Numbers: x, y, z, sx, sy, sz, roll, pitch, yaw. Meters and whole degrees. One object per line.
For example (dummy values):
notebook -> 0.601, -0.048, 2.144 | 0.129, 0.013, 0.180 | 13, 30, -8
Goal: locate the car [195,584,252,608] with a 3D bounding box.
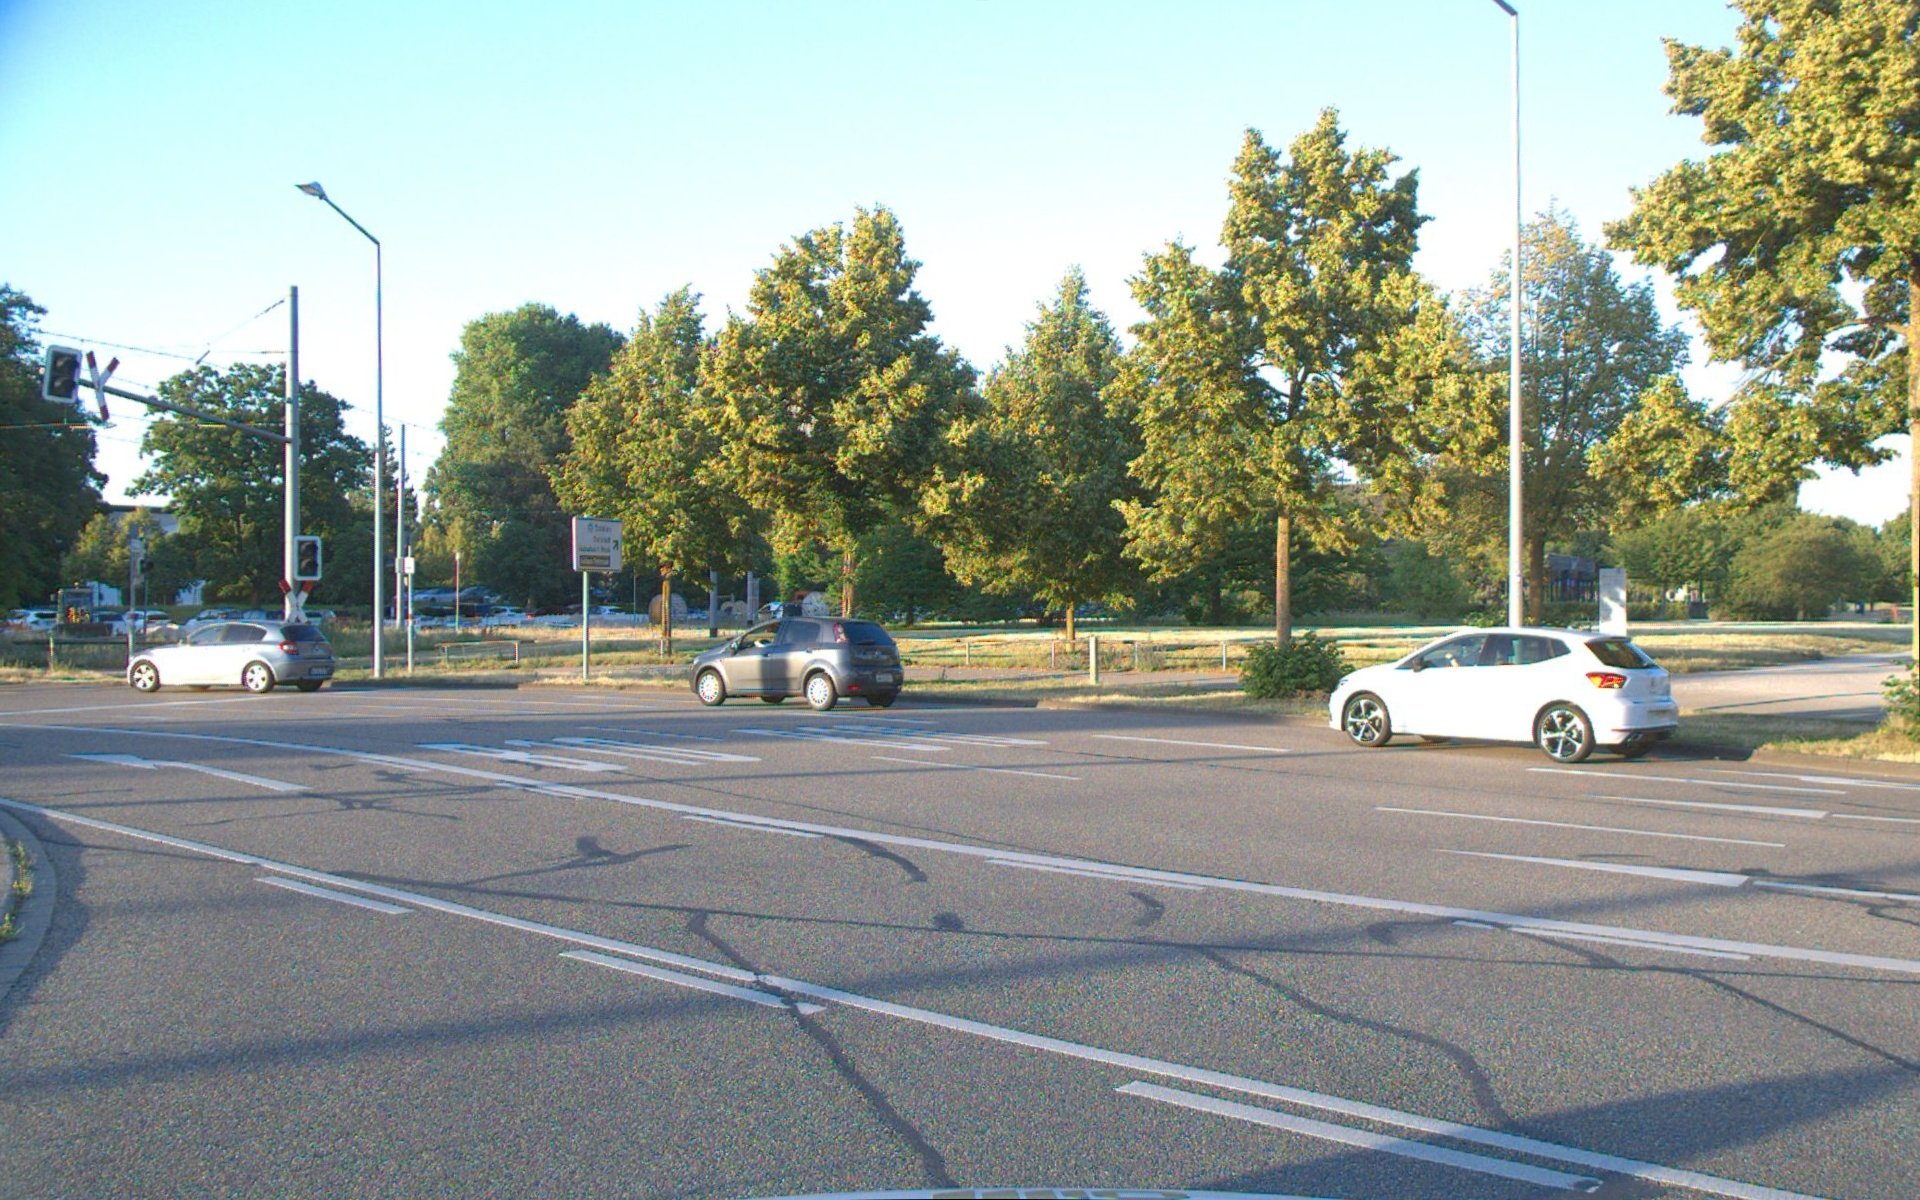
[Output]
car -> -63.351, -0.312, 142.370 | 1.958, 2.049, 4.105 | 0, 0, 33

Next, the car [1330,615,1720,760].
car -> 6.463, 0.924, 19.210 | 1.852, 1.479, 3.911 | 0, 0, -42

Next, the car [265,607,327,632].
car -> -45.795, 1.330, 114.119 | 3.933, 1.691, 1.889 | 0, 0, -23

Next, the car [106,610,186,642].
car -> -42.236, 1.323, 85.794 | 3.915, 1.632, 1.995 | 0, 0, 32

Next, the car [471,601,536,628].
car -> -34.571, 1.095, 125.269 | 4.499, 2.049, 1.996 | 0, 0, -9

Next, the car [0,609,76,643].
car -> -45.606, 1.246, 81.442 | 3.915, 1.632, 1.995 | 0, 0, 32

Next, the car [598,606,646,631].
car -> -26.341, 1.404, 128.885 | 1.979, 1.782, 4.538 | 0, 1, -37

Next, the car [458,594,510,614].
car -> -41.664, 0.309, 144.731 | 3.902, 1.736, 2.001 | 0, 0, 6

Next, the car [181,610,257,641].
car -> -40.511, 1.372, 90.383 | 3.915, 1.632, 1.995 | 0, 0, 32

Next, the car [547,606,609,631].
car -> -26.248, 1.246, 113.680 | 3.915, 1.632, 1.995 | 0, 0, 32

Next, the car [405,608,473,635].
car -> -32.290, 1.300, 102.554 | 3.915, 1.632, 1.995 | 0, 0, 32

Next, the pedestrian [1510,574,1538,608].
pedestrian -> 27.016, -0.437, 79.250 | 1.047, 1.646, 0.911 | 0, 0, 2

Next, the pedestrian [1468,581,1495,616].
pedestrian -> 25.019, -0.080, 79.394 | 1.047, 1.646, 0.911 | 0, 0, 2

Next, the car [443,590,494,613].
car -> -44.065, 0.123, 148.244 | 1.963, 2.049, 3.979 | 0, 0, 40

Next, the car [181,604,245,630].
car -> -50.539, 1.119, 111.878 | 3.939, 1.691, 1.983 | 0, 0, -27

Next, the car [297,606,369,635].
car -> -36.424, 1.201, 96.095 | 3.915, 1.632, 1.995 | 0, 0, 32

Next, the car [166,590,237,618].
car -> -56.625, 0.250, 123.499 | 1.956, 2.049, 4.590 | 0, 0, 29

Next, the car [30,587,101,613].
car -> -70.510, -0.012, 130.474 | 1.956, 2.049, 4.590 | 0, 0, 29

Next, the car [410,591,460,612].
car -> -47.926, 0.127, 151.071 | 1.959, 1.847, 3.987 | 0, 0, 34

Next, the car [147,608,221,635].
car -> -50.209, 1.380, 107.091 | 1.863, 1.691, 3.987 | 0, 0, 34

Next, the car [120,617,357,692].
car -> -14.350, 1.052, 32.964 | 4.061, 1.414, 1.869 | 0, 0, 15

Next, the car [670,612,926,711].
car -> -2.722, 0.956, 27.375 | 4.083, 1.479, 1.859 | 0, 1, 39

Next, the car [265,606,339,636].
car -> -37.369, 1.176, 93.877 | 3.915, 1.632, 1.995 | 0, 0, 32

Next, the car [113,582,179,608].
car -> -67.094, -0.400, 136.348 | 1.958, 2.049, 4.585 | 0, 0, 33

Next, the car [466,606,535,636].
car -> -32.503, 1.451, 117.161 | 4.499, 2.049, 1.996 | 0, 0, -9

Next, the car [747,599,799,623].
car -> -12.981, 0.770, 114.677 | 1.724, 1.646, 3.940 | 0, 0, -41

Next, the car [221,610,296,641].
car -> -39.069, 1.404, 92.051 | 3.915, 1.632, 1.995 | 0, 0, 32

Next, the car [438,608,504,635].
car -> -30.955, 1.332, 104.692 | 3.915, 1.632, 1.995 | 0, 0, 32

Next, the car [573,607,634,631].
car -> -24.879, 1.332, 115.430 | 3.915, 1.632, 1.995 | 0, 0, 32
